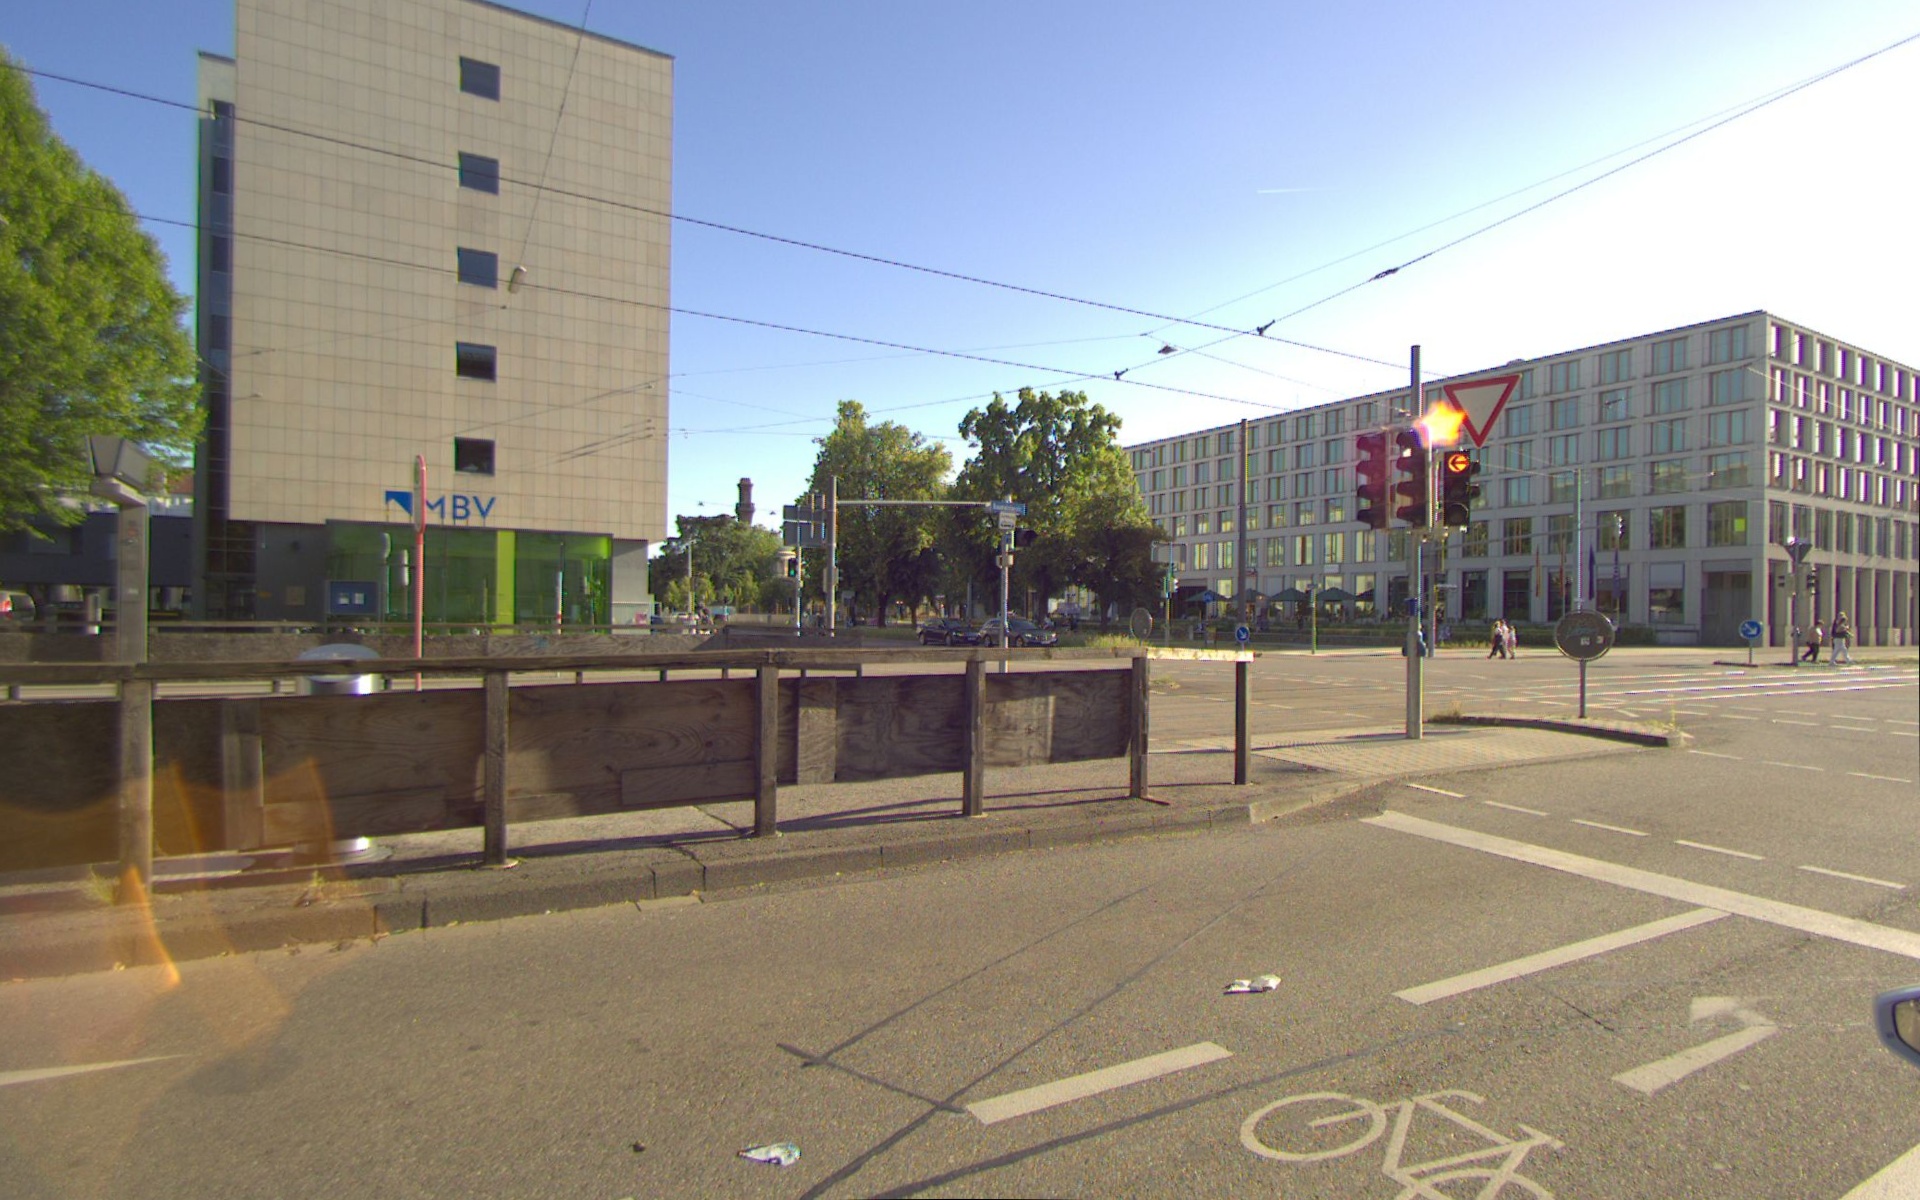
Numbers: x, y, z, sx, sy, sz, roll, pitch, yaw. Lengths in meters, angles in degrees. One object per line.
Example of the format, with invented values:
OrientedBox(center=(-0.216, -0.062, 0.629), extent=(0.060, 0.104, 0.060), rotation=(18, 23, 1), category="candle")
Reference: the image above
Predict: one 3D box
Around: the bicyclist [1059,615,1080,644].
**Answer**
OrientedBox(center=(6.416, 1.713, 58.921), extent=(0.592, 1.662, 1.065), rotation=(1, -1, -41), category="bicyclist")

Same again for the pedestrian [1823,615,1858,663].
OrientedBox(center=(30.668, 1.344, 34.997), extent=(0.615, 1.666, 0.787), rotation=(1, -1, -34), category="pedestrian")

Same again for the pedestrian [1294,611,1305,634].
OrientedBox(center=(26.060, 1.736, 77.145), extent=(0.556, 1.691, 0.537), rotation=(2, 0, -33), category="pedestrian")

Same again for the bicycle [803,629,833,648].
OrientedBox(center=(-7.456, 1.999, 52.661), extent=(0.818, 0.973, 2.132), rotation=(1, -1, -31), category="bicycle")

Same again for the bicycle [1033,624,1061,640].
OrientedBox(center=(5.341, 1.982, 61.686), extent=(0.568, 0.945, 2.053), rotation=(1, -1, -33), category="bicycle")

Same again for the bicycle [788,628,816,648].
OrientedBox(center=(-8.234, 1.965, 52.207), extent=(0.669, 0.973, 2.131), rotation=(1, -1, -32), category="bicycle")

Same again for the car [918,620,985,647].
OrientedBox(center=(-0.519, 1.756, 53.388), extent=(1.755, 1.311, 4.209), rotation=(1, -1, -30), category="car")

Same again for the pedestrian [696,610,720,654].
OrientedBox(center=(-9.927, 1.263, 39.567), extent=(0.814, 1.739, 0.757), rotation=(1, -1, -18), category="pedestrian")

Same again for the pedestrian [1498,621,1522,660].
OrientedBox(center=(25.724, 1.883, 46.984), extent=(0.525, 1.827, 0.867), rotation=(1, -1, -24), category="pedestrian")

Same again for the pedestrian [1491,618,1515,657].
OrientedBox(center=(25.923, 1.782, 47.968), extent=(0.706, 1.827, 0.737), rotation=(1, -1, -24), category="pedestrian")

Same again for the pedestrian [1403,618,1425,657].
OrientedBox(center=(22.749, 1.854, 50.329), extent=(0.628, 1.943, 0.800), rotation=(1, -1, -24), category="pedestrian")

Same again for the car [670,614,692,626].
OrientedBox(center=(-35.304, 2.561, 126.979), extent=(1.614, 1.452, 4.021), rotation=(3, -2, -31), category="car")

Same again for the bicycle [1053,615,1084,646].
OrientedBox(center=(6.362, 1.780, 58.987), extent=(0.592, 1.758, 1.880), rotation=(1, -1, -41), category="bicycle")

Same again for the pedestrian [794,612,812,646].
OrientedBox(center=(-8.133, 1.506, 52.069), extent=(0.666, 1.739, 0.754), rotation=(1, -1, -32), category="pedestrian")

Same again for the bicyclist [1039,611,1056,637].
OrientedBox(center=(5.387, 1.447, 61.613), extent=(0.568, 1.581, 0.969), rotation=(1, -1, -33), category="bicyclist")

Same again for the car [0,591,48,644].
OrientedBox(center=(-27.757, 0.446, 27.772), extent=(3.371, 1.431, 1.562), rotation=(2, 0, -20), category="car")

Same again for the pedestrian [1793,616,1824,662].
OrientedBox(center=(30.983, 1.427, 36.687), extent=(0.614, 1.666, 0.691), rotation=(1, -1, -29), category="pedestrian")

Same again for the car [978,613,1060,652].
OrientedBox(center=(2.758, 1.509, 47.805), extent=(1.829, 1.602, 4.496), rotation=(1, 1, -28), category="car")

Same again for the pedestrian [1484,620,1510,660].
OrientedBox(center=(25.043, 1.859, 46.858), extent=(0.654, 1.827, 0.868), rotation=(1, -1, -24), category="pedestrian")

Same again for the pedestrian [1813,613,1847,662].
OrientedBox(center=(31.853, 1.361, 36.777), extent=(0.668, 1.784, 0.746), rotation=(2, -2, -25), category="pedestrian")

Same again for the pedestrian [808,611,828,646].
OrientedBox(center=(-7.462, 1.482, 52.698), extent=(0.818, 1.829, 0.754), rotation=(1, -1, -31), category="pedestrian")
